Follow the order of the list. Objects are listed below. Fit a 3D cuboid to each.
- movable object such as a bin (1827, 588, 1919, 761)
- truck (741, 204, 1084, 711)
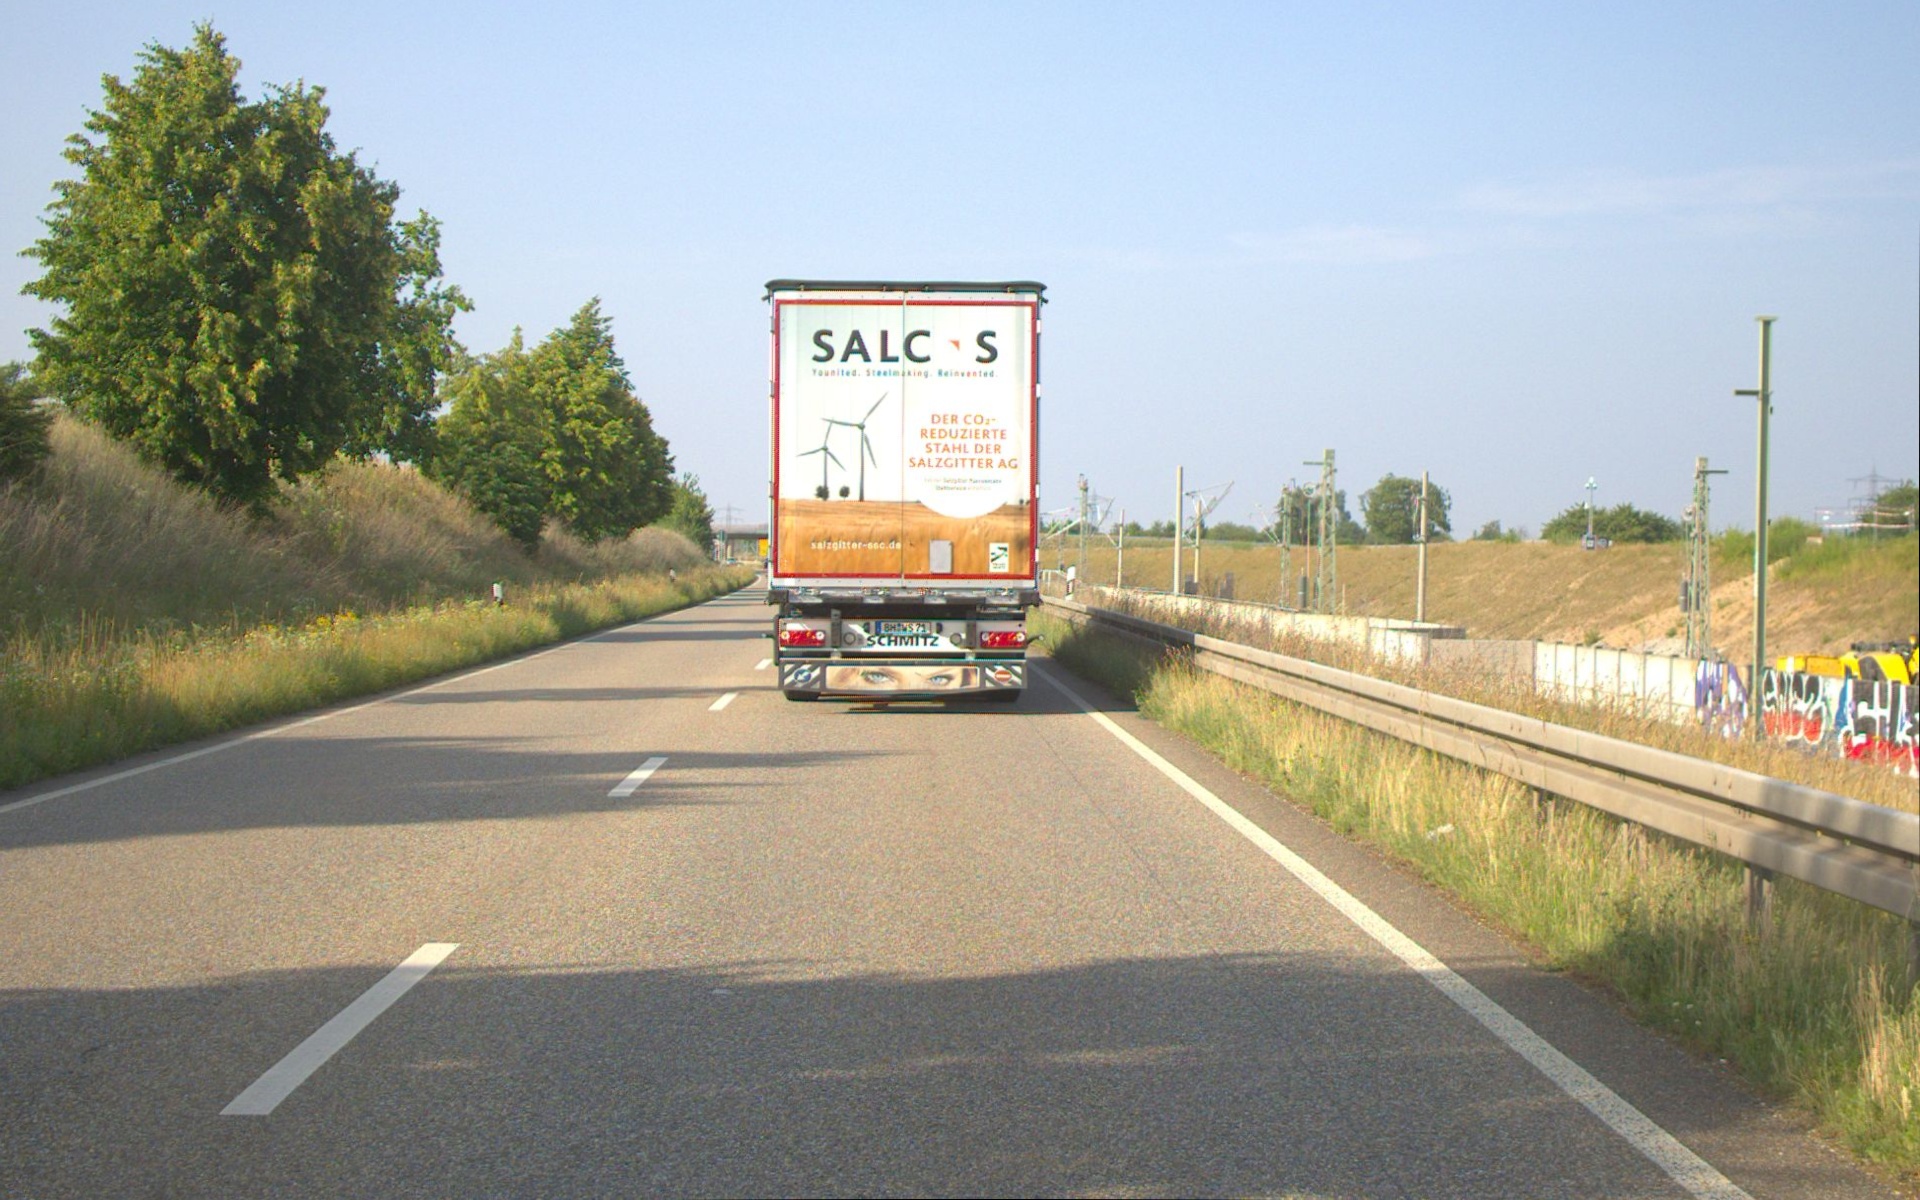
[{"bbox_3d":[19.730,1.455,68.466,2.621,3.228,8.074,1,1,-2],"label":"movable object such as a bin"},{"bbox_3d":[-0.471,-1.386,35.968,3.153,4.672,8.442,0,1,0],"label":"truck"}]
